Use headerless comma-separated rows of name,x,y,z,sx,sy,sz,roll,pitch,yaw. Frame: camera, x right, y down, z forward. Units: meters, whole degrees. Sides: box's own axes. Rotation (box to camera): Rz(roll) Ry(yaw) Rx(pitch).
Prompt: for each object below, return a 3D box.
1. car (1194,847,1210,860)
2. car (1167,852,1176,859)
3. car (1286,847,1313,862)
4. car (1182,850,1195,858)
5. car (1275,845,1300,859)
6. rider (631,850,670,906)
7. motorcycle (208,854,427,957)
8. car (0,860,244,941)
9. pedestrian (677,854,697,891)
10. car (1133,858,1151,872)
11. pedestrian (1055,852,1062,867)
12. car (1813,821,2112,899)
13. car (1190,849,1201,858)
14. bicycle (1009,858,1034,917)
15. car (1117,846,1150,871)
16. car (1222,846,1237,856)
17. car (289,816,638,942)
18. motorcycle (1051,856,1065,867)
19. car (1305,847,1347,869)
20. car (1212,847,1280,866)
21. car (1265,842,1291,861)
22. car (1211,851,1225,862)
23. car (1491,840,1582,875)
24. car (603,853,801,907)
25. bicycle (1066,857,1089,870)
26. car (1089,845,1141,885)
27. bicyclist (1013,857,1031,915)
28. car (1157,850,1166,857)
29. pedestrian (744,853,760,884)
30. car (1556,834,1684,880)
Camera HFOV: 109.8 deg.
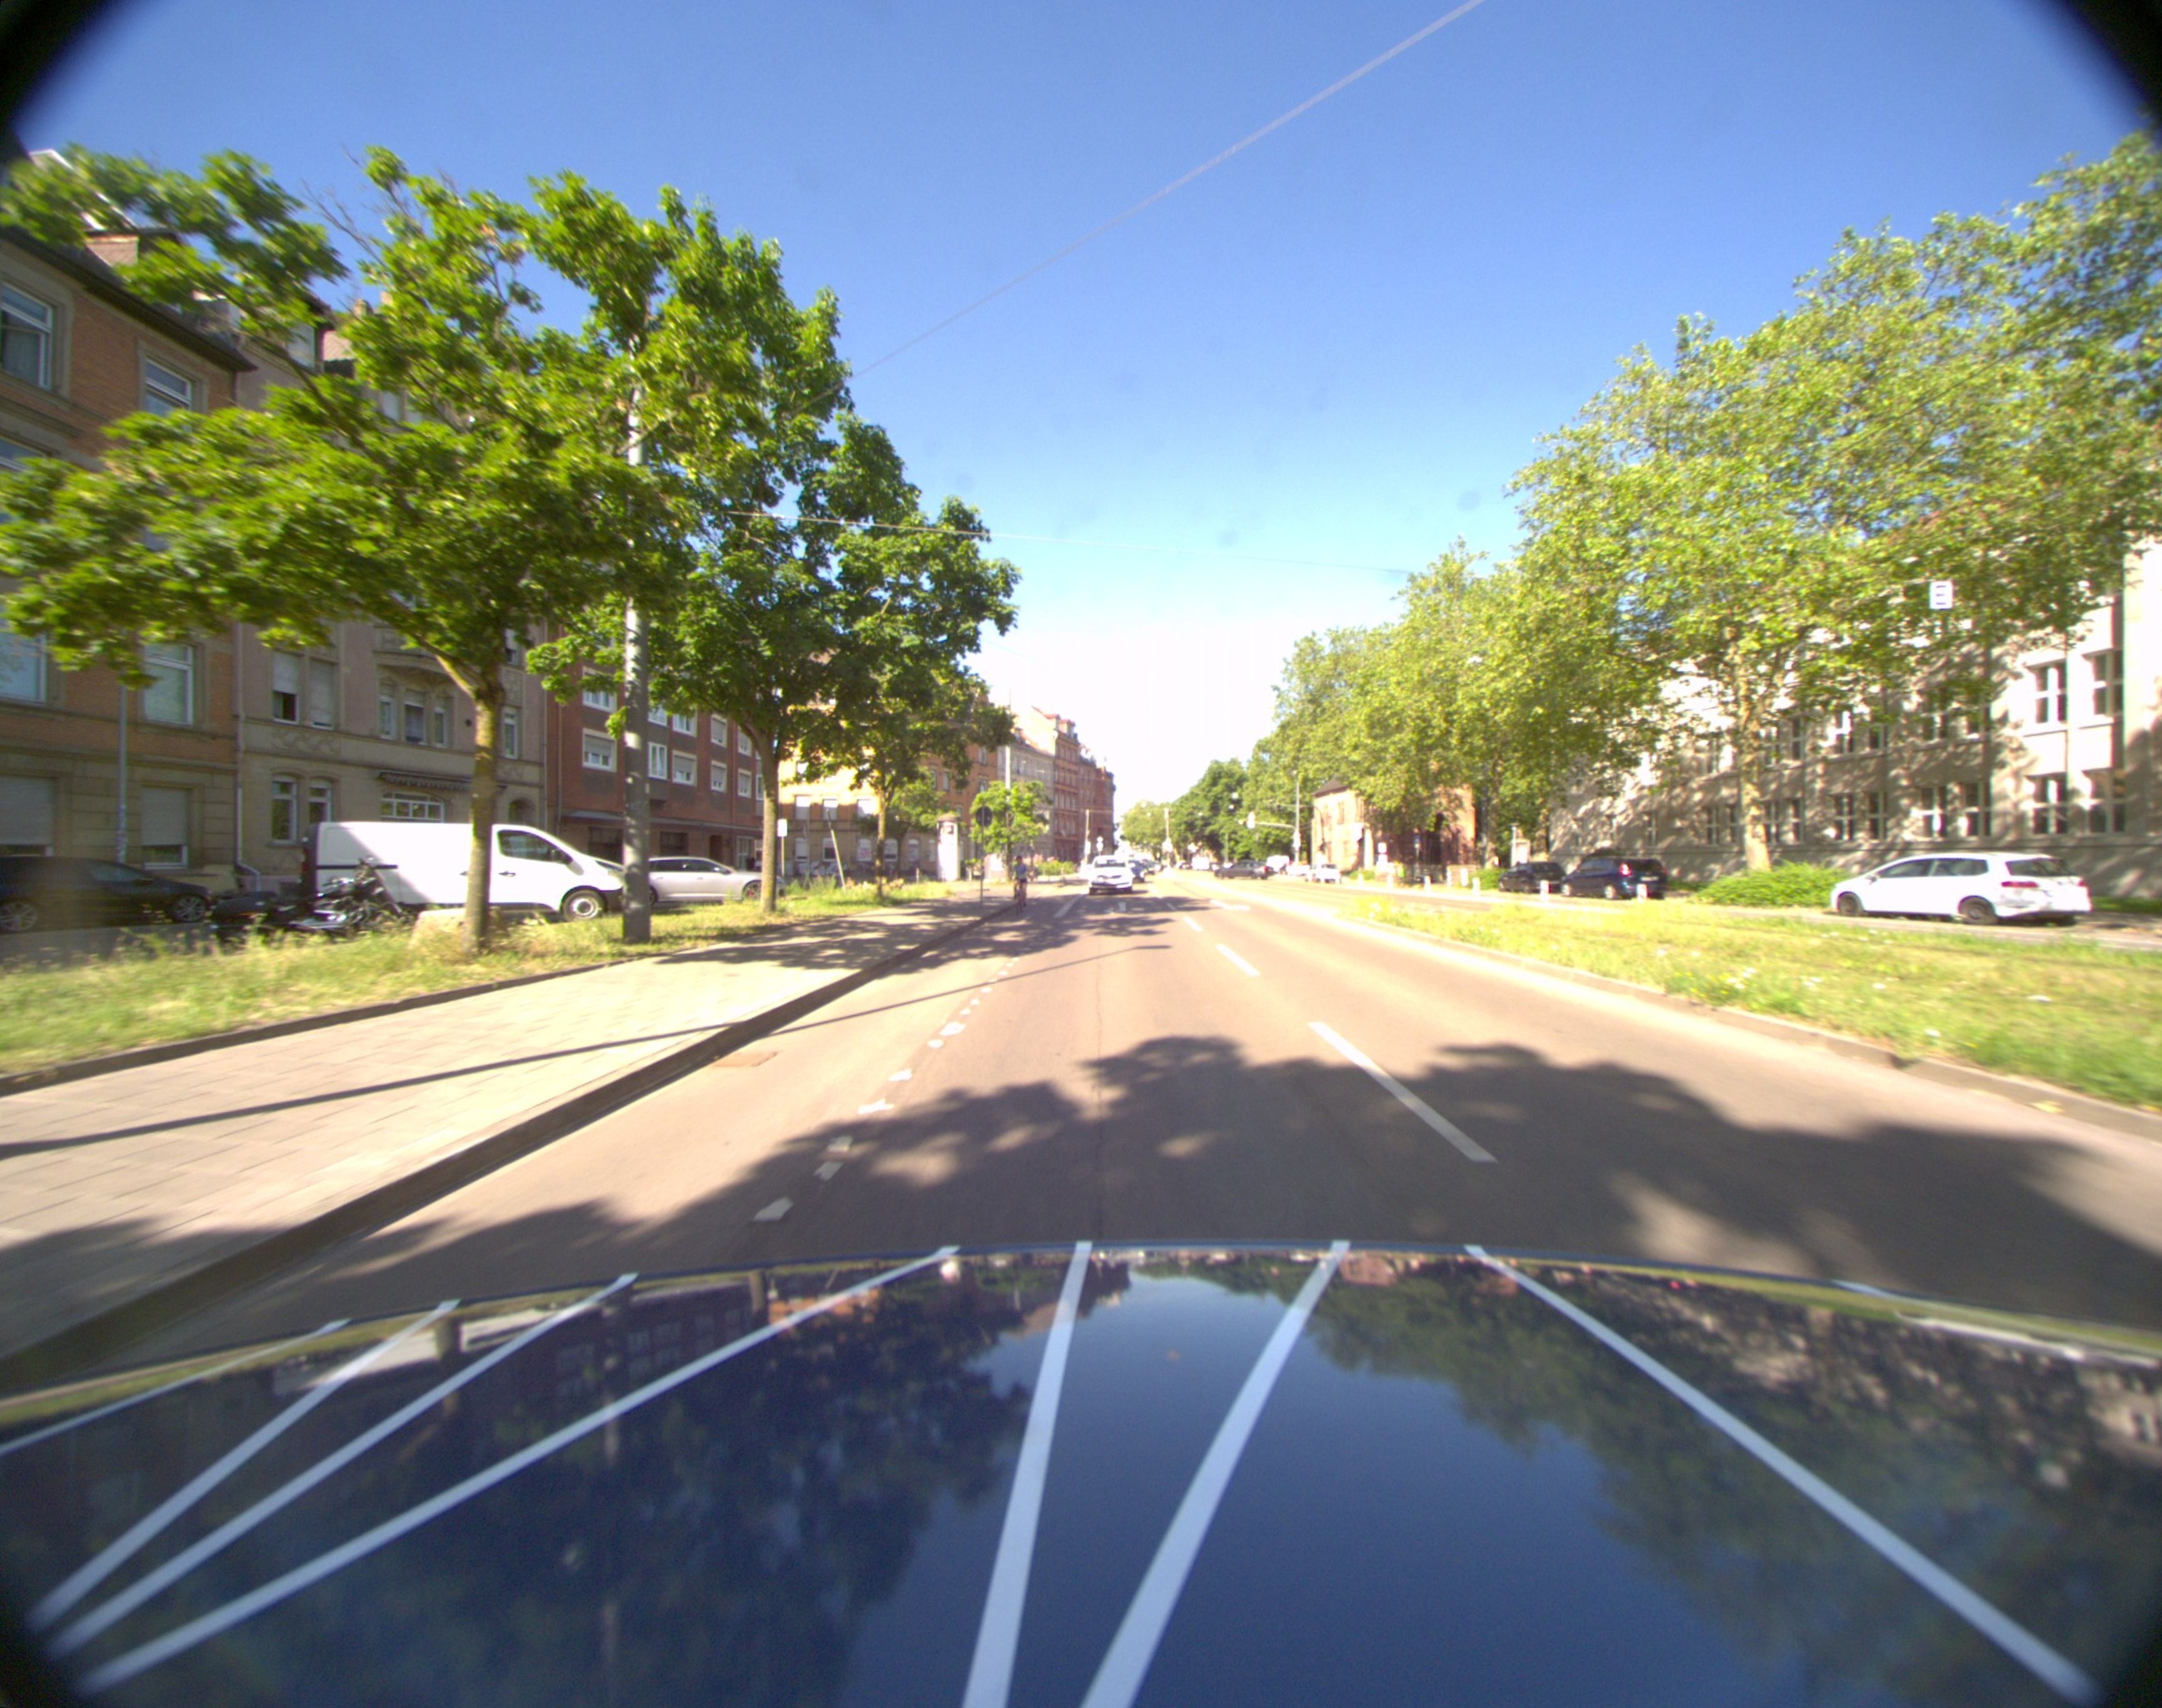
car,18.850,-0.061,118.324,2.065,1.880,4.519,2,0,5
car,20.340,0.365,170.414,1.795,1.542,4.308,0,0,3
car,22.958,0.056,79.787,1.779,1.564,3.678,1,-1,0
car,19.113,0.020,135.242,1.797,1.420,4.377,0,0,3
car,23.067,-0.176,85.028,1.795,1.542,3.861,0,0,2
rider,-14.262,0.772,25.213,0.963,1.809,1.039,0,0,-20
motorcycle,-11.527,0.734,11.570,0.852,1.412,2.267,1,-1,43
car,-19.861,0.848,15.043,1.732,1.412,4.294,1,-1,2
pedestrian,-18.538,0.855,35.736,0.571,1.748,0.615,0,0,5
car,6.430,1.173,80.306,1.889,1.419,4.378,0,0,4
pedestrian,-2.791,0.691,96.123,0.821,1.851,0.703,0,0,-7
car,20.095,0.129,17.691,1.834,1.578,4.396,1,0,0
car,22.666,-0.109,150.159,1.795,1.542,4.308,0,-1,3
bicycle,-1.719,0.935,21.999,0.438,1.629,1.939,-2,0,3
car,3.578,0.302,50.957,1.997,1.607,4.266,0,-1,7
car,23.939,-0.500,122.353,1.795,1.542,4.308,0,0,3
car,-11.407,0.481,14.602,4.890,2.063,2.015,2,-1,-32
motorcycle,-2.899,0.967,96.111,1.631,1.308,0.716,0,0,-7
car,16.920,0.263,52.711,1.834,1.444,4.172,1,0,5
car,12.983,0.195,59.960,4.946,1.444,1.840,1,0,43
car,23.302,-0.281,89.945,1.920,2.084,4.593,0,0,1
car,18.708,0.349,103.693,1.619,1.403,4.091,0,-1,7
car,20.813,0.159,34.932,1.676,1.538,4.189,0,0,0
car,-10.895,0.750,22.011,4.889,1.426,2.016,2,-1,-31
bicycle,-0.442,1.160,94.211,1.968,1.408,6.831,3,0,7
car,1.549,0.427,33.097,1.800,1.626,4.397,0,0,9
bicyclist,-1.707,0.915,22.001,0.438,1.629,0.779,0,0,3
car,17.030,-0.146,160.884,1.797,1.420,4.377,0,0,3
pedestrian,-18.766,0.821,43.294,0.592,1.750,0.642,0,0,3
car,20.538,0.114,29.214,1.834,1.629,4.396,1,0,0
